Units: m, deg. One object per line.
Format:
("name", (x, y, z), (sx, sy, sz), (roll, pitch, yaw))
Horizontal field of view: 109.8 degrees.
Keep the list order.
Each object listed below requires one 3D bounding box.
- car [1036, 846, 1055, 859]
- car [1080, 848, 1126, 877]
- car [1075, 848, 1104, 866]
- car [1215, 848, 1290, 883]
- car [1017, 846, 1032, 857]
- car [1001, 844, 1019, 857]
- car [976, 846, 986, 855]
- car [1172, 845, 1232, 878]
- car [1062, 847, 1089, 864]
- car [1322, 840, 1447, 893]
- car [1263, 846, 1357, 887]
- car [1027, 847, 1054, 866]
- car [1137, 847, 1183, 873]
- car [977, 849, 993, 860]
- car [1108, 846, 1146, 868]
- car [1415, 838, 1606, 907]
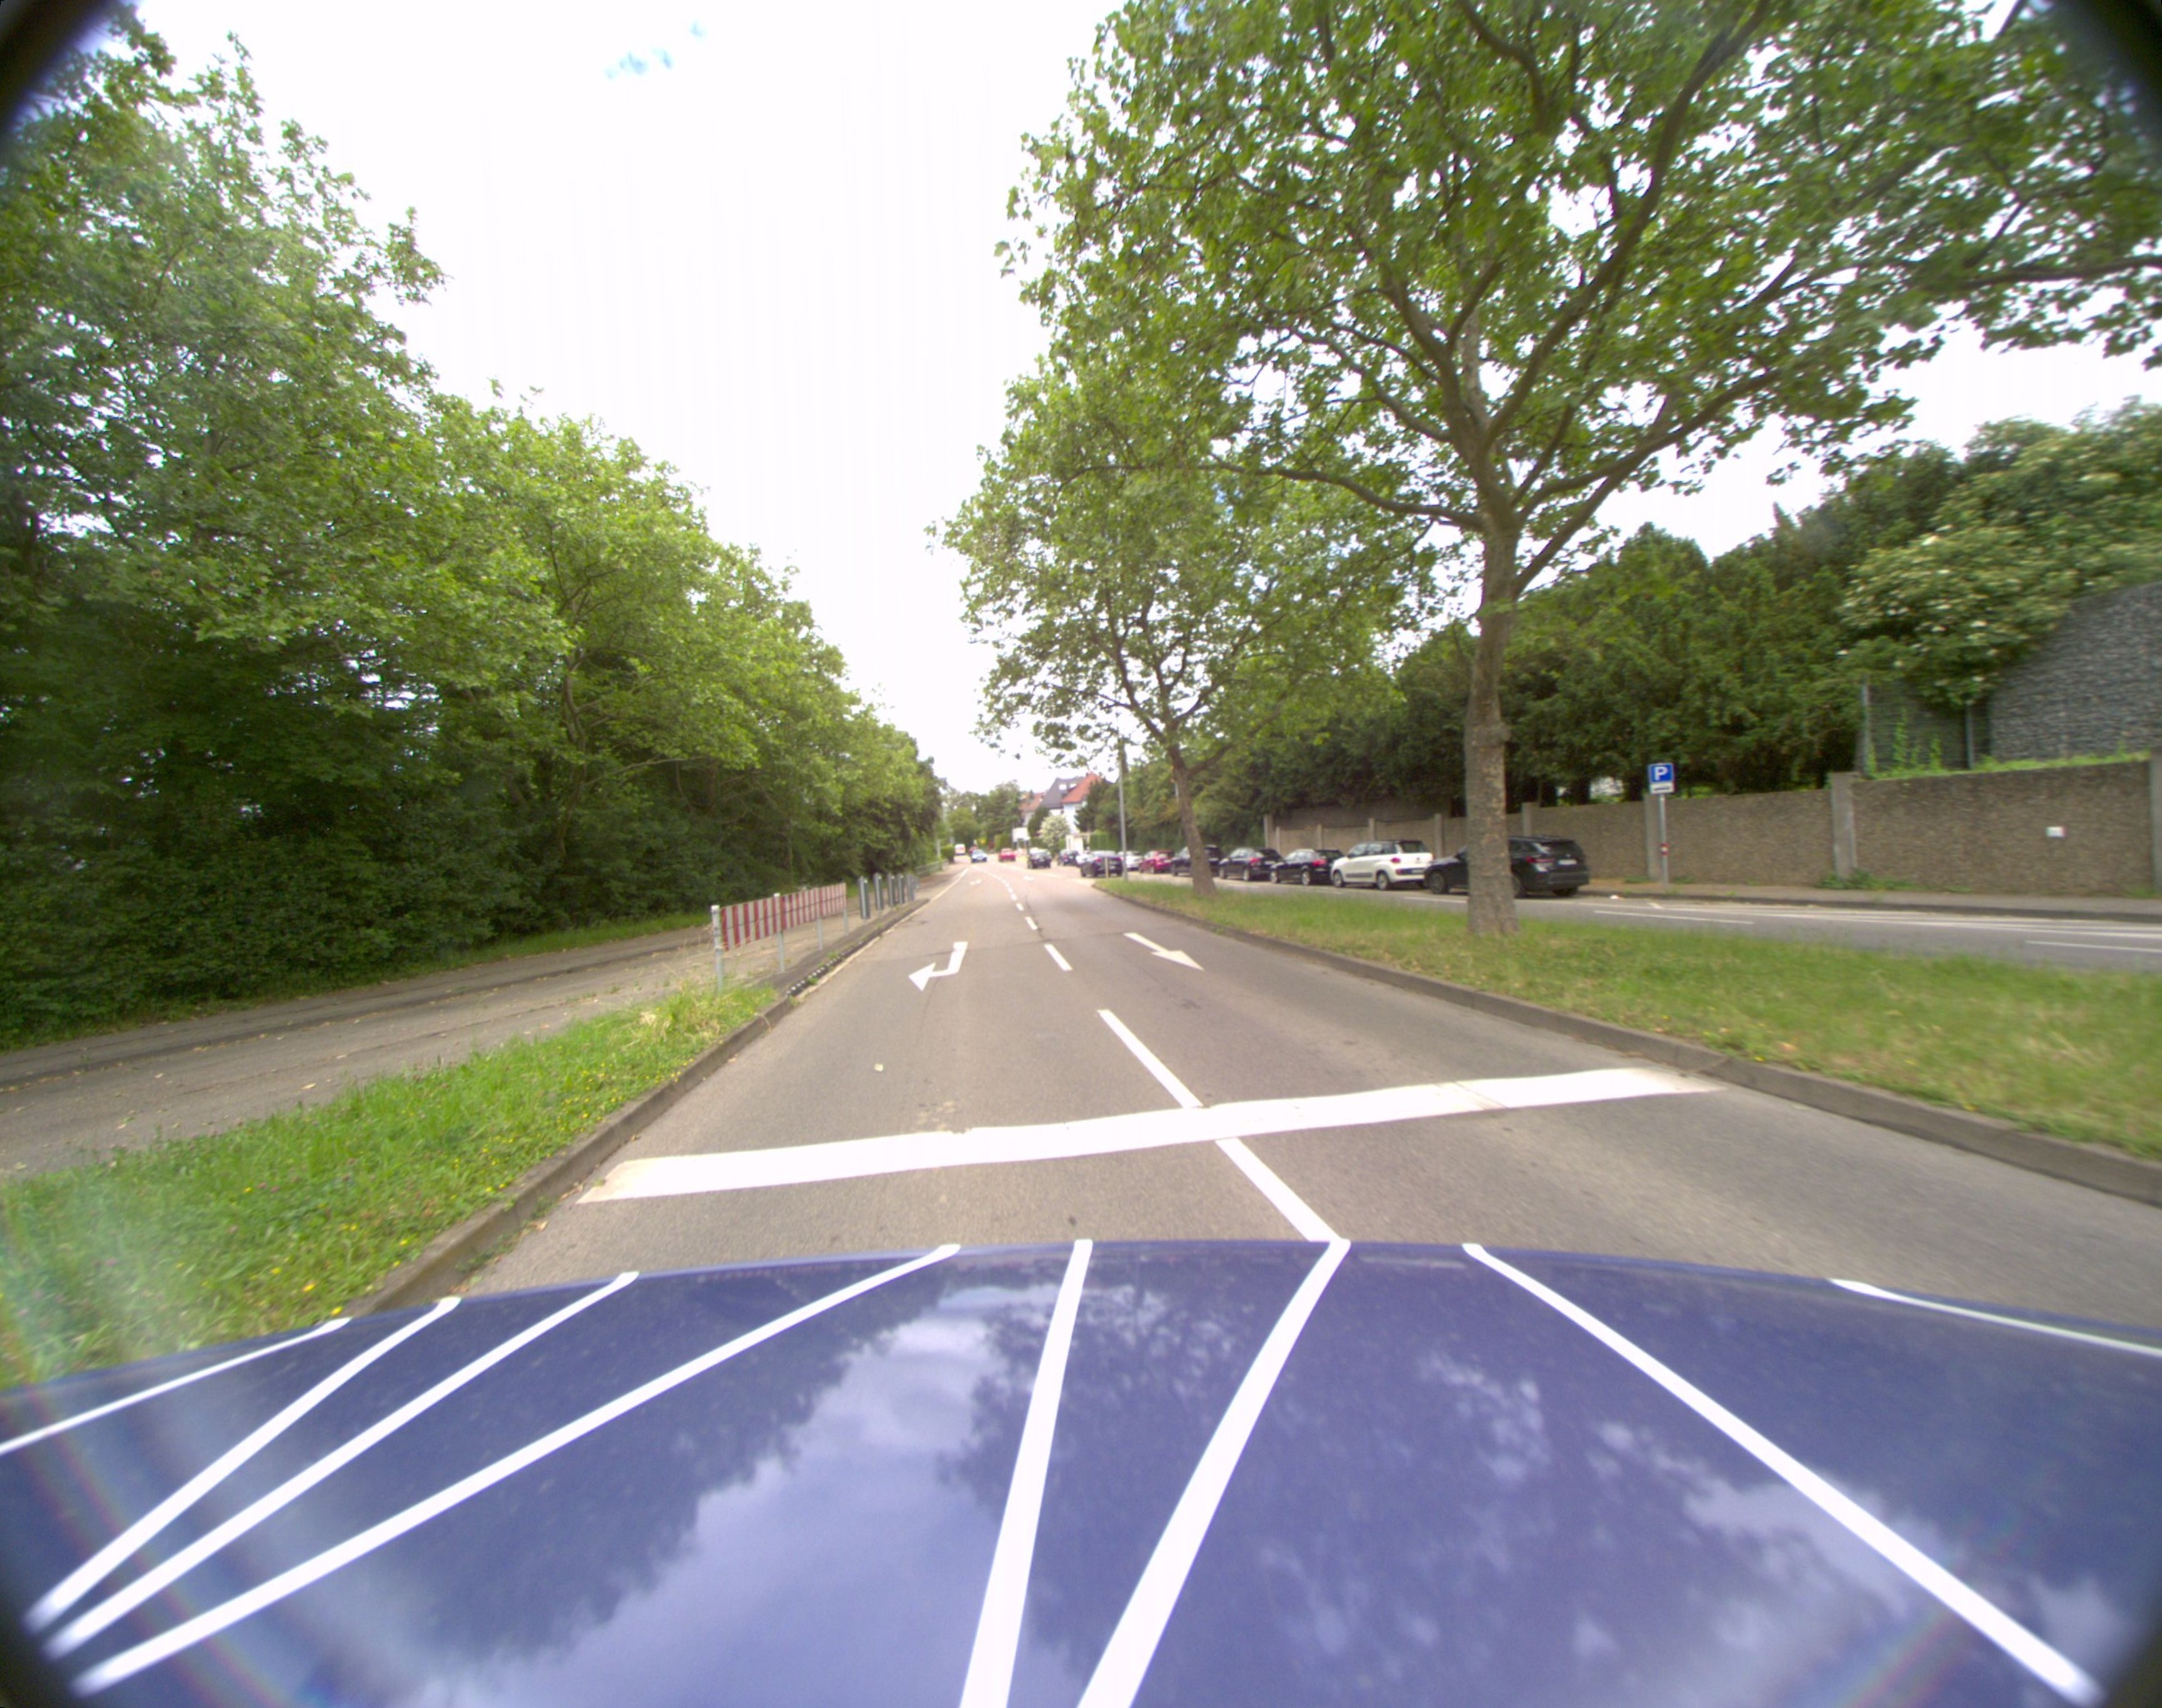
("car", (-4.124, -0.141, 88.465), (1.687, 1.322, 3.828), (-4, 1, -9))
("car", (1.292, 0.514, 46.629), (1.798, 1.606, 4.582), (-2, 0, -12))
("car", (0.724, 0.262, 66.564), (1.687, 1.496, 3.827), (-2, 0, -13))
("car", (7.934, 0.496, 35.557), (1.798, 1.496, 4.034), (-2, 0, -13))
("car", (-7.855, -0.370, 104.644), (1.687, 1.322, 3.828), (-4, 1, -9))
("car", (-8.890, -0.410, 94.523), (1.687, 1.496, 3.827), (-2, 0, -13))
("car", (-18.029, -0.598, 136.674), (1.672, 1.536, 3.997), (-3, 1, -7))
("car", (6.480, 0.381, 41.148), (1.798, 1.594, 4.034), (-3, 1, -12))
("car", (-0.524, 0.164, 71.322), (1.687, 1.496, 3.827), (-2, 0, -13))
("car", (10.174, 0.397, 25.844), (1.798, 1.606, 4.212), (-2, 0, -14))
("car", (9.050, 0.479, 30.382), (1.798, 1.496, 4.034), (-2, 0, -13))
("car", (-3.717, 0.247, 69.830), (1.845, 1.606, 3.909), (-2, 0, -12))
("car", (4.969, 0.369, 48.225), (1.687, 1.496, 3.827), (-2, 0, -13))
("car", (-12.658, 0.051, 100.140), (1.798, 1.420, 4.143), (-2, 0, -12))
("car", (3.287, 0.239, 54.899), (1.687, 1.496, 3.827), (-2, 0, -13))
("car", (11.258, 0.450, 20.333), (1.798, 1.606, 4.456), (-2, 0, -15))
